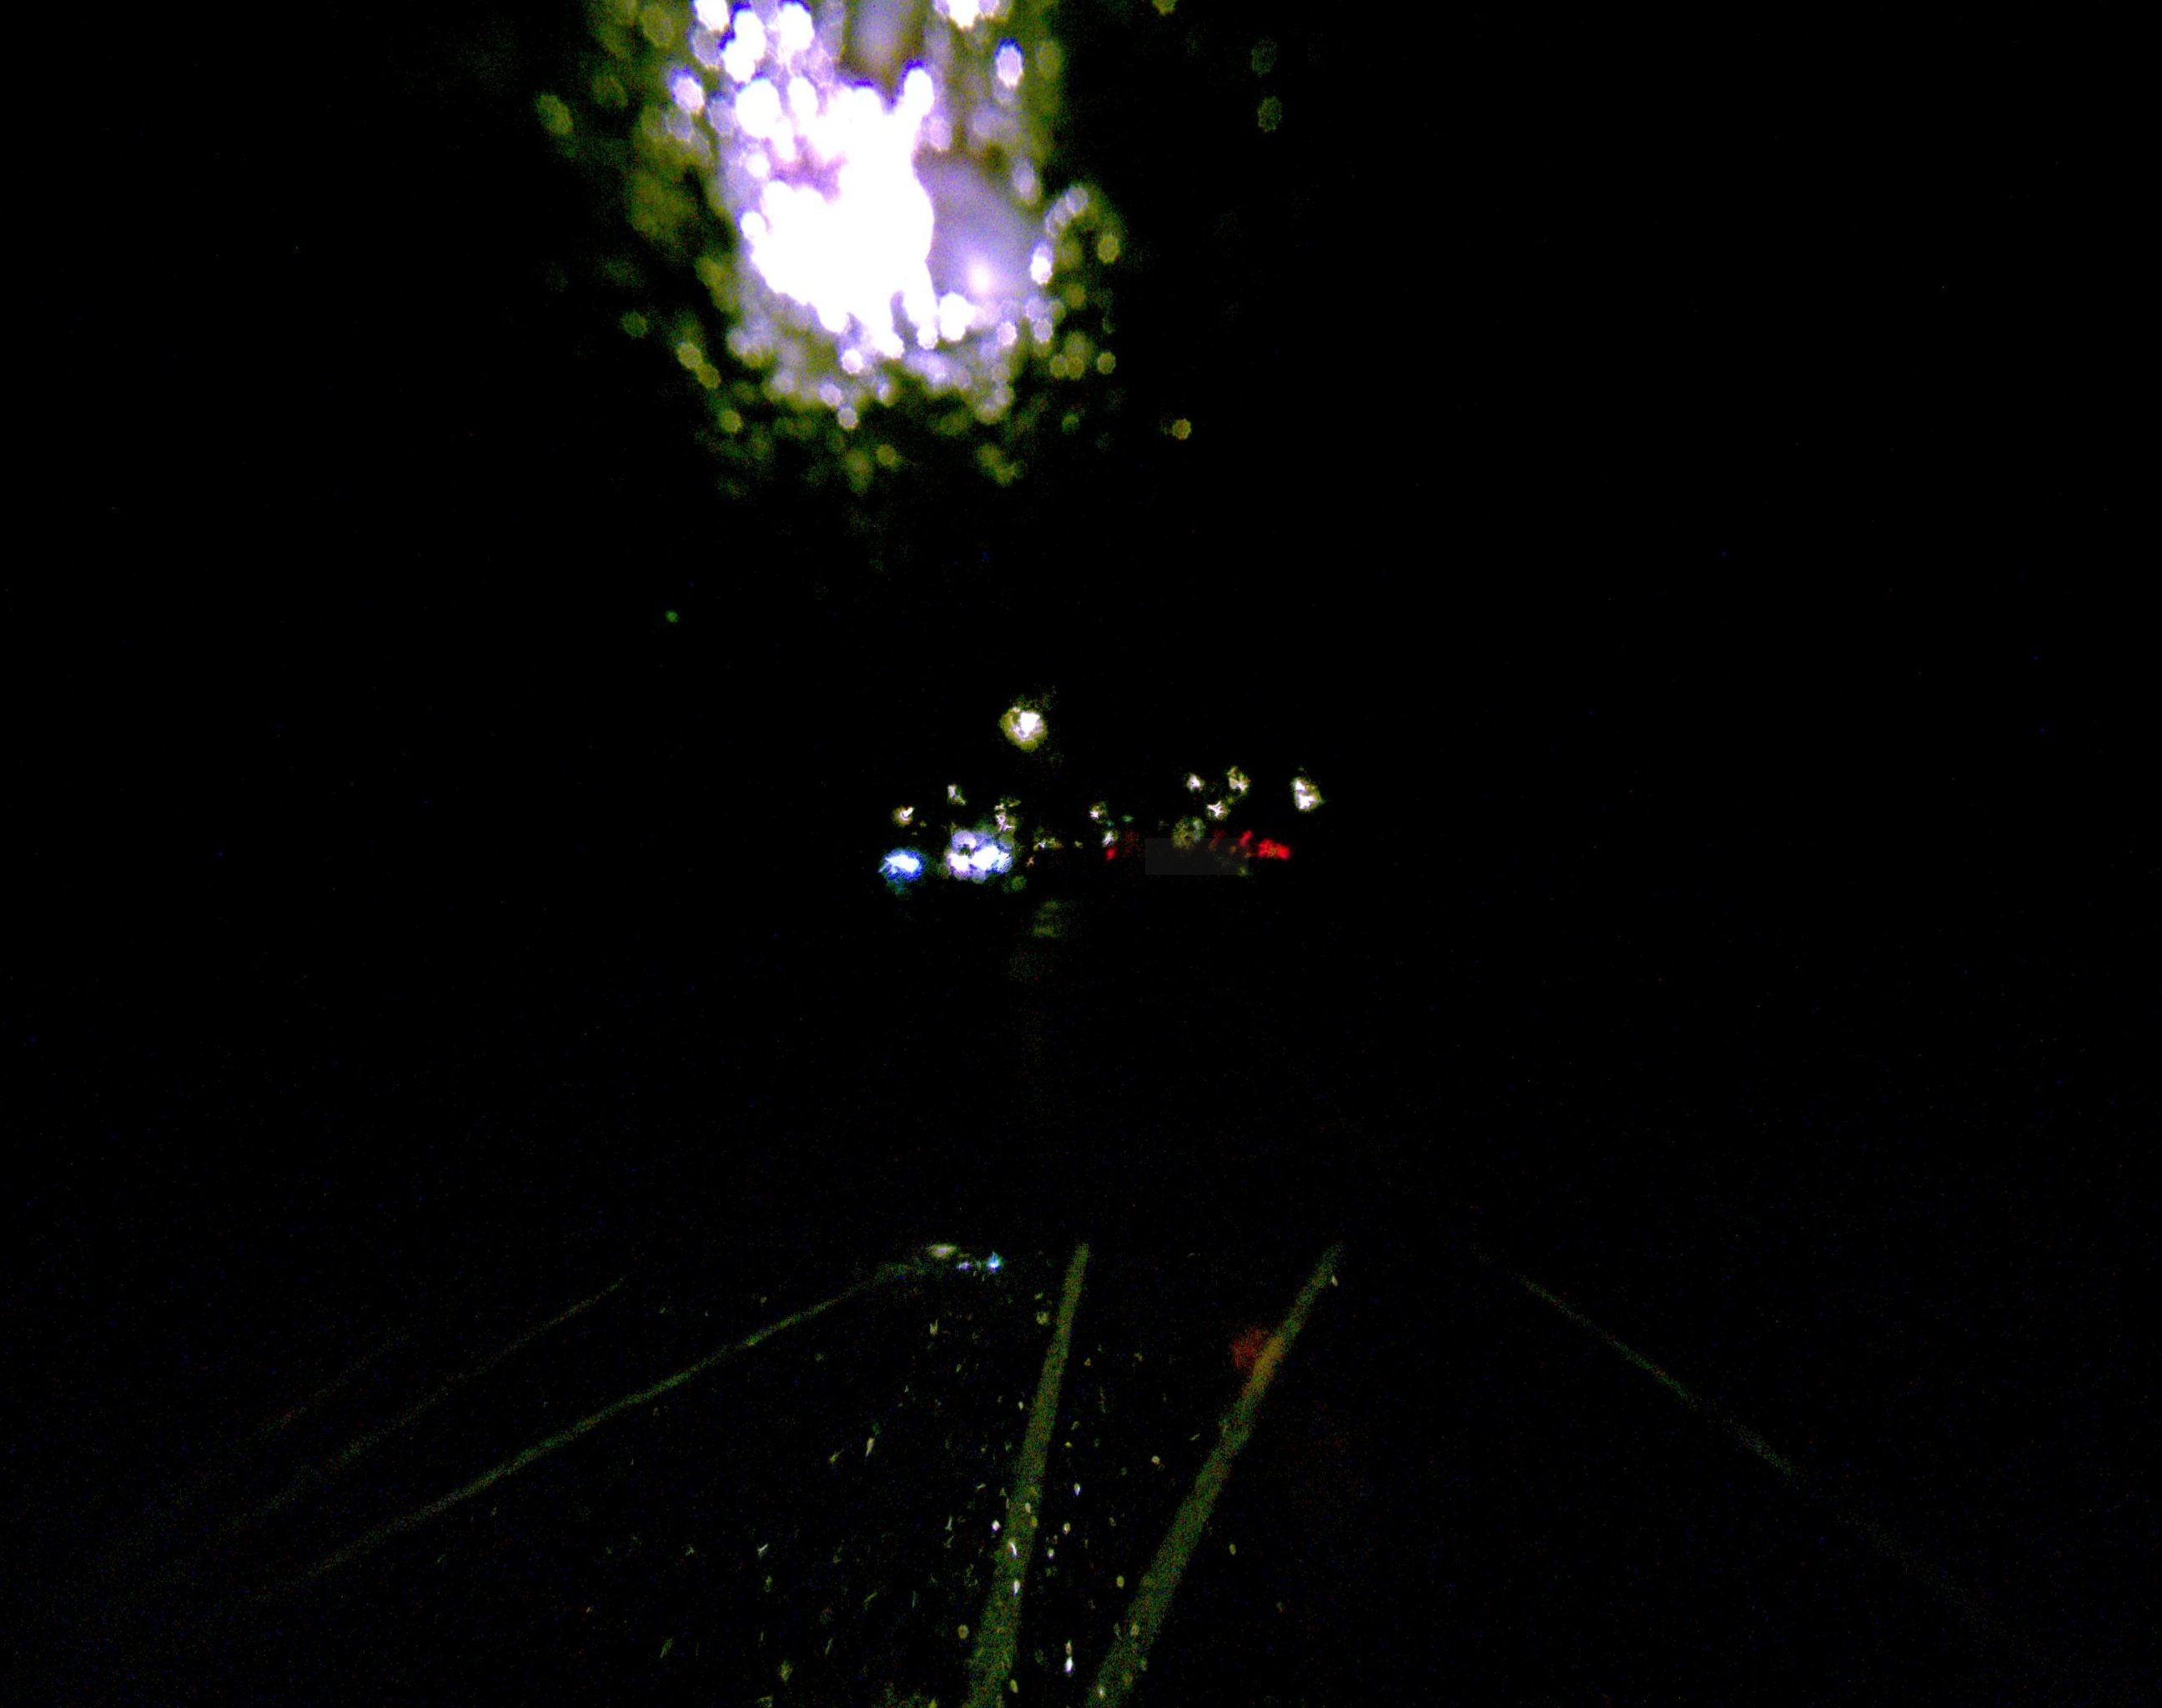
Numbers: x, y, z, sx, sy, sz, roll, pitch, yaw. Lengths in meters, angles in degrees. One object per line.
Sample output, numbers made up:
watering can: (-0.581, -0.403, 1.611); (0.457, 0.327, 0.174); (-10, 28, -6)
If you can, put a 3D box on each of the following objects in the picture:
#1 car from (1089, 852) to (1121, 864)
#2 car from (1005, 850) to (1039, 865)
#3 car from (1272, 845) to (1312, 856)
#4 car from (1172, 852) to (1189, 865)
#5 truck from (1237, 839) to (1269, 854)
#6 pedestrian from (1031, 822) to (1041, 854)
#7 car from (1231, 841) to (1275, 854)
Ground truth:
car: (3.393, 0.608, 110.197); (4.430, 1.612, 1.999); (-1, 1, -4)
car: (-7.561, 0.466, 96.786); (3.988, 1.775, 2.004); (0, 1, 39)
car: (30.261, -0.477, 109.024); (5.095, 1.457, 2.000); (-2, 1, -1)
car: (12.052, 0.521, 91.883); (1.997, 1.447, 4.305); (2, 1, 8)
truck: (27.940, -1.233, 122.997); (2.316, 2.383, 7.827); (0, 1, 35)
pedestrian: (-2.869, -0.997, 48.251); (0.550, 2.002, 0.742); (-1, 1, 1)
car: (26.304, -0.974, 116.094); (6.446, 1.805, 1.997); (-1, 1, -16)
